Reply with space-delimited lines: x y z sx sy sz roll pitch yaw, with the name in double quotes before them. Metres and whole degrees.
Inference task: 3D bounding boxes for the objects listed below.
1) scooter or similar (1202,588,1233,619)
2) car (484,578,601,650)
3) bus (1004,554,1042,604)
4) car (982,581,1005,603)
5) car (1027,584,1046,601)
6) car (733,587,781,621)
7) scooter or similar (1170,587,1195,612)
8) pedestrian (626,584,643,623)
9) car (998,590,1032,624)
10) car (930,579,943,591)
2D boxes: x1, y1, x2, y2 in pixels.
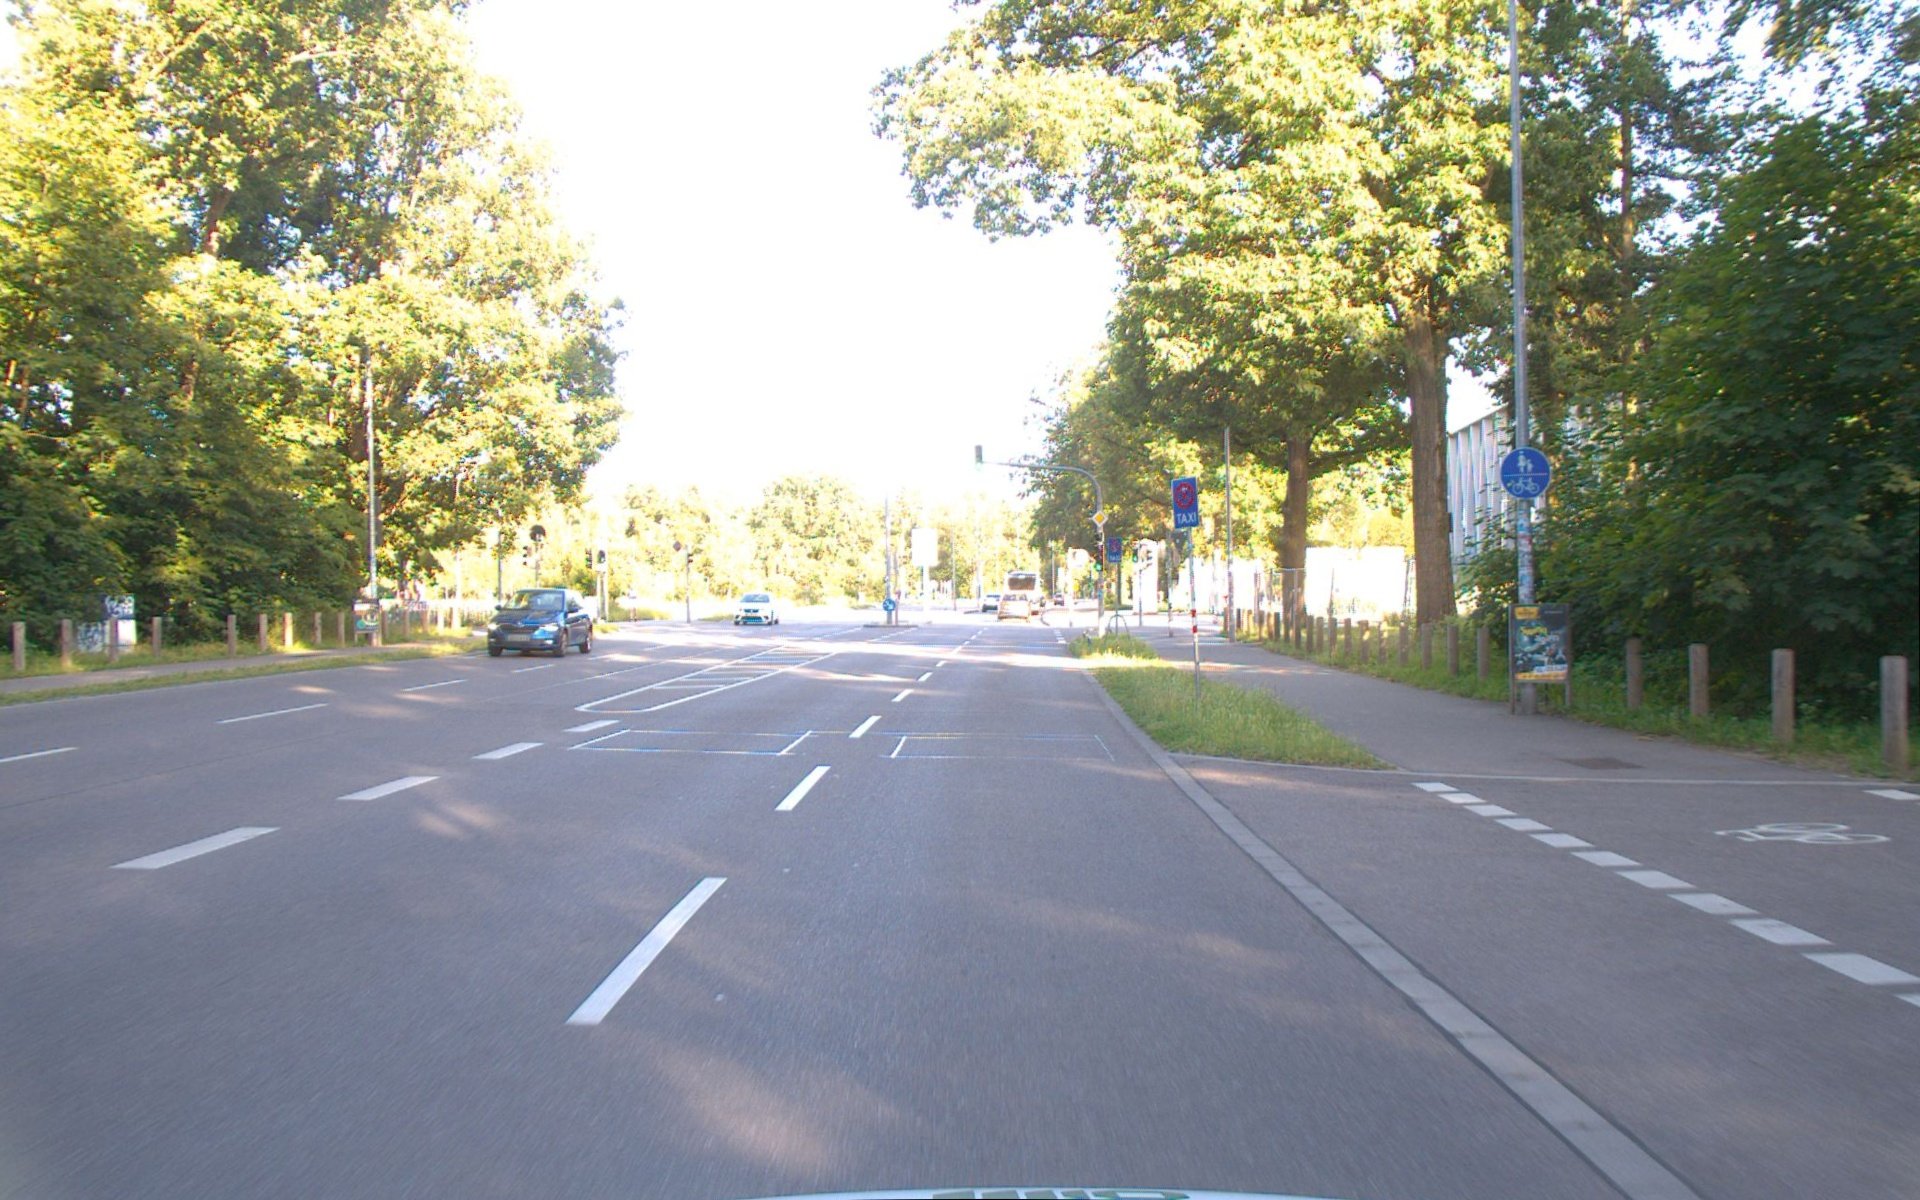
"scooter or similar" 11.421 0.167 73.364 1.349 1.310 0.595 0 4 -41
"car" -9.413 0.294 37.584 1.621 1.534 4.000 0 0 0
"bus" 4.501 -1.505 118.975 2.551 3.427 7.977 0 1 2
"car" 2.822 -0.709 138.585 1.841 1.796 4.001 -1 1 2
"car" 8.028 -0.772 173.365 1.823 1.713 3.775 -1 0 6
"car" -9.237 0.159 75.431 1.676 1.489 4.100 1 0 -1
"scooter or similar" 11.844 -0.024 88.120 0.559 1.278 1.591 0 0 40
"pedestrian" -16.199 0.171 82.320 0.599 1.943 1.107 -1 -1 2
"car" 3.033 0.354 90.944 1.841 1.796 4.001 -1 1 2
"car" -3.707 -2.375 259.975 1.824 1.713 3.773 -1 0 2
